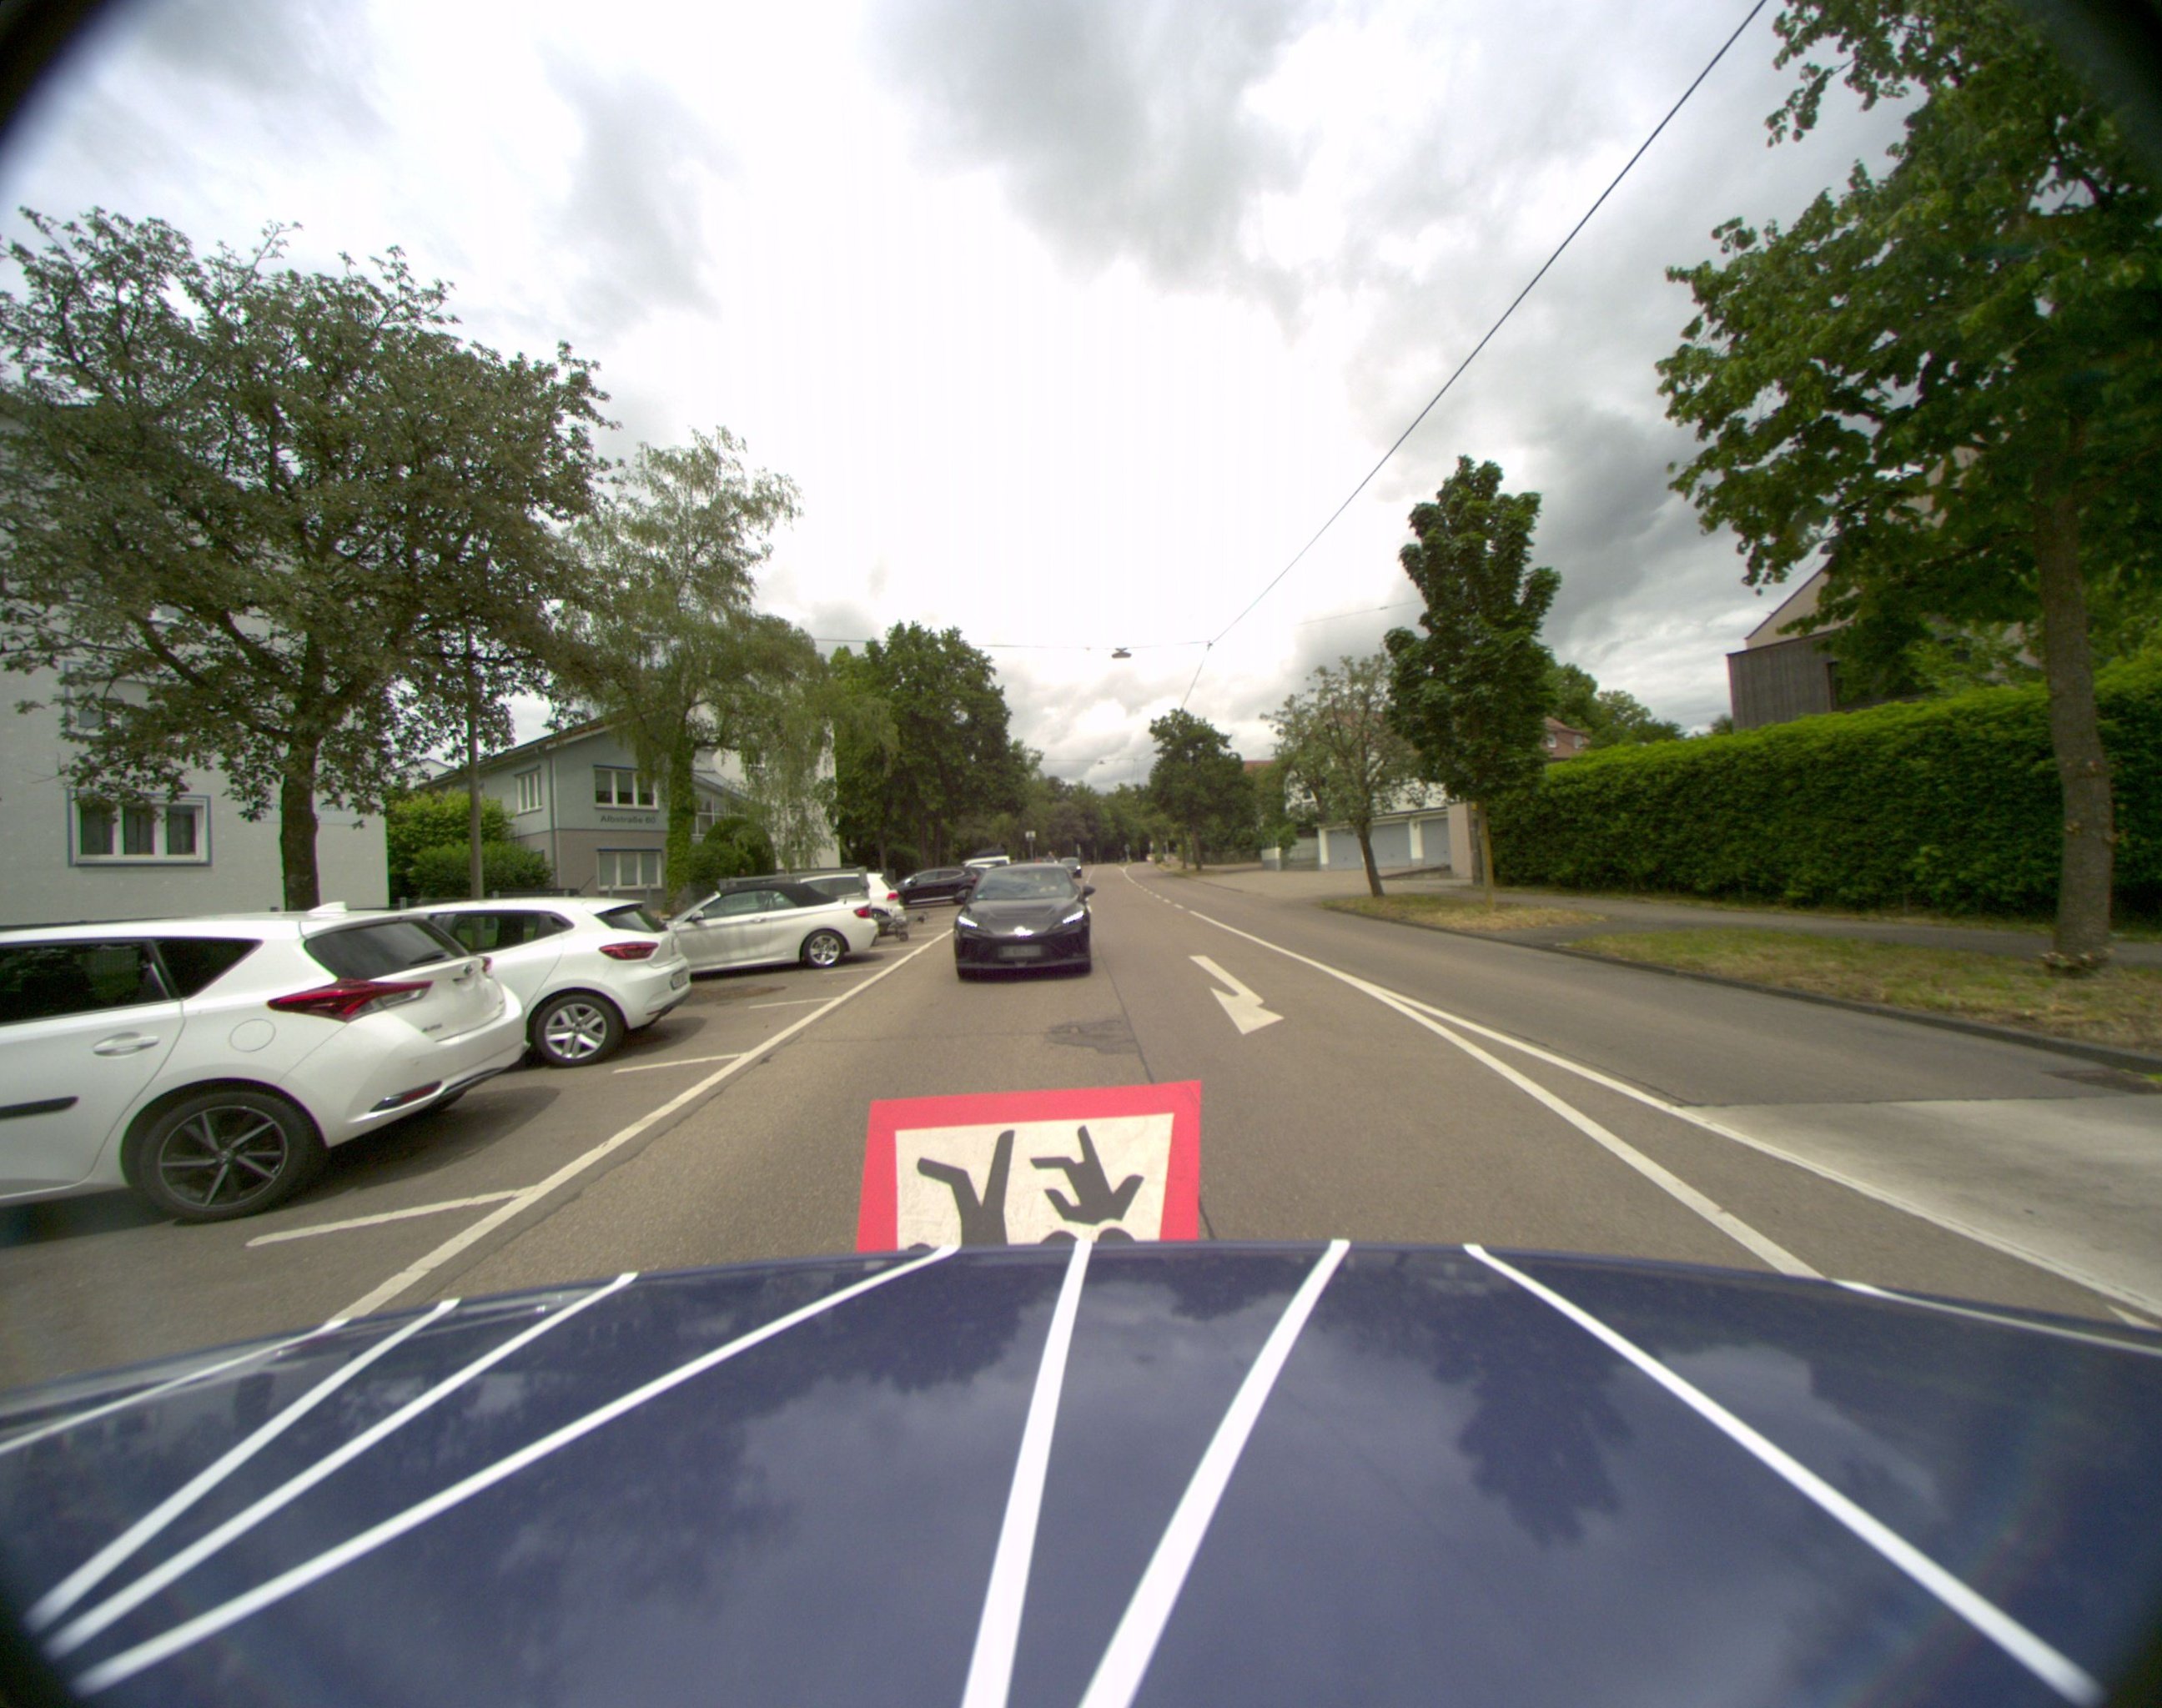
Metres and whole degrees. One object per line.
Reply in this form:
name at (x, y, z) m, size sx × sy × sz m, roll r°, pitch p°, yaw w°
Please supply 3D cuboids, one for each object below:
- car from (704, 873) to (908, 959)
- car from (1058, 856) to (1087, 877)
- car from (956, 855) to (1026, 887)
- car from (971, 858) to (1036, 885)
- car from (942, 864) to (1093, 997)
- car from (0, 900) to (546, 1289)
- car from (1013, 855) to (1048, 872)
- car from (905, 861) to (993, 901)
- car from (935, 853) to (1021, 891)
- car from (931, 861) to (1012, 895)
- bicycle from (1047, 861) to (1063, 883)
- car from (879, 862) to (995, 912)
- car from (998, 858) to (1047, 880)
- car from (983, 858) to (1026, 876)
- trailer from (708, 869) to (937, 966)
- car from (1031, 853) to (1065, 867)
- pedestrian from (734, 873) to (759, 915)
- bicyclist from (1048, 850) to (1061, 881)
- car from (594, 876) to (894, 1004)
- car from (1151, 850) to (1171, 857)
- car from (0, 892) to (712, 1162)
car at (-6.109, 1.301, 17.081) m, size 4.003 × 1.455 × 1.788 m, roll -4°, pitch 1°, yaw -21°
car at (-0.558, 0.862, 55.771) m, size 1.860 × 1.366 × 4.076 m, roll -3°, pitch 0°, yaw 2°
car at (-5.331, 0.978, 44.984) m, size 3.858 × 1.634 × 1.851 m, roll -4°, pitch 1°, yaw -13°
car at (-4.889, 1.065, 47.721) m, size 3.858 × 1.426 × 1.653 m, roll -4°, pitch 1°, yaw -13°
car at (-0.764, 0.978, 11.330) m, size 1.813 × 1.484 × 3.793 m, roll -2°, pitch 1°, yaw 1°
car at (-5.511, 1.180, 3.942) m, size 4.002 × 1.455 × 1.863 m, roll -4°, pitch 1°, yaw -17°
car at (-5.715, 1.055, 85.981) m, size 3.856 × 1.553 × 1.654 m, roll -4°, pitch 1°, yaw -6°
car at (-5.826, 1.167, 33.495) m, size 3.516 × 1.455 × 1.713 m, roll -4°, pitch 1°, yaw -19°
car at (-5.677, 0.962, 41.860) m, size 4.226 × 1.748 × 1.856 m, roll -4°, pitch 1°, yaw -23°
car at (-5.601, 1.189, 38.769) m, size 3.858 × 1.430 × 1.714 m, roll -4°, pitch 1°, yaw -13°
bicycle at (-1.509, 1.022, 44.043) m, size 0.648 × 1.230 × 1.876 m, roll -3°, pitch 0°, yaw -9°
car at (-5.364, 1.181, 28.304) m, size 3.860 × 1.426 × 1.712 m, roll -4°, pitch 3°, yaw -23°
car at (-5.012, 1.280, 65.202) m, size 3.860 × 1.603 × 1.652 m, roll -4°, pitch 1°, yaw -18°
car at (-7.560, 1.253, 74.753) m, size 3.860 × 1.549 × 1.652 m, roll -4°, pitch 1°, yaw -18°
trailer at (-5.016, 1.172, 15.107) m, size 4.002 × 1.543 × 1.656 m, roll -3°, pitch 0°, yaw -17°
car at (-3.924, 0.711, 90.710) m, size 3.856 × 1.379 × 1.654 m, roll -4°, pitch 1°, yaw -6°
pedestrian at (-12.559, 1.483, 28.561) m, size 0.694 × 1.495 × 0.777 m, roll -3°, pitch 1°, yaw -19°
bicyclist at (-1.534, 0.675, 44.098) m, size 0.647 × 1.769 × 0.627 m, roll -2°, pitch 1°, yaw -10°
car at (-5.261, 1.245, 12.198) m, size 4.004 × 1.455 × 1.847 m, roll -4°, pitch 1°, yaw -25°
car at (17.130, -0.065, 162.448) m, size 4.006 × 1.401 × 1.796 m, roll -3°, pitch 0°, yaw -34°
car at (-5.621, 1.255, 6.573) m, size 4.001 × 1.455 × 1.794 m, roll -4°, pitch 1°, yaw -15°
